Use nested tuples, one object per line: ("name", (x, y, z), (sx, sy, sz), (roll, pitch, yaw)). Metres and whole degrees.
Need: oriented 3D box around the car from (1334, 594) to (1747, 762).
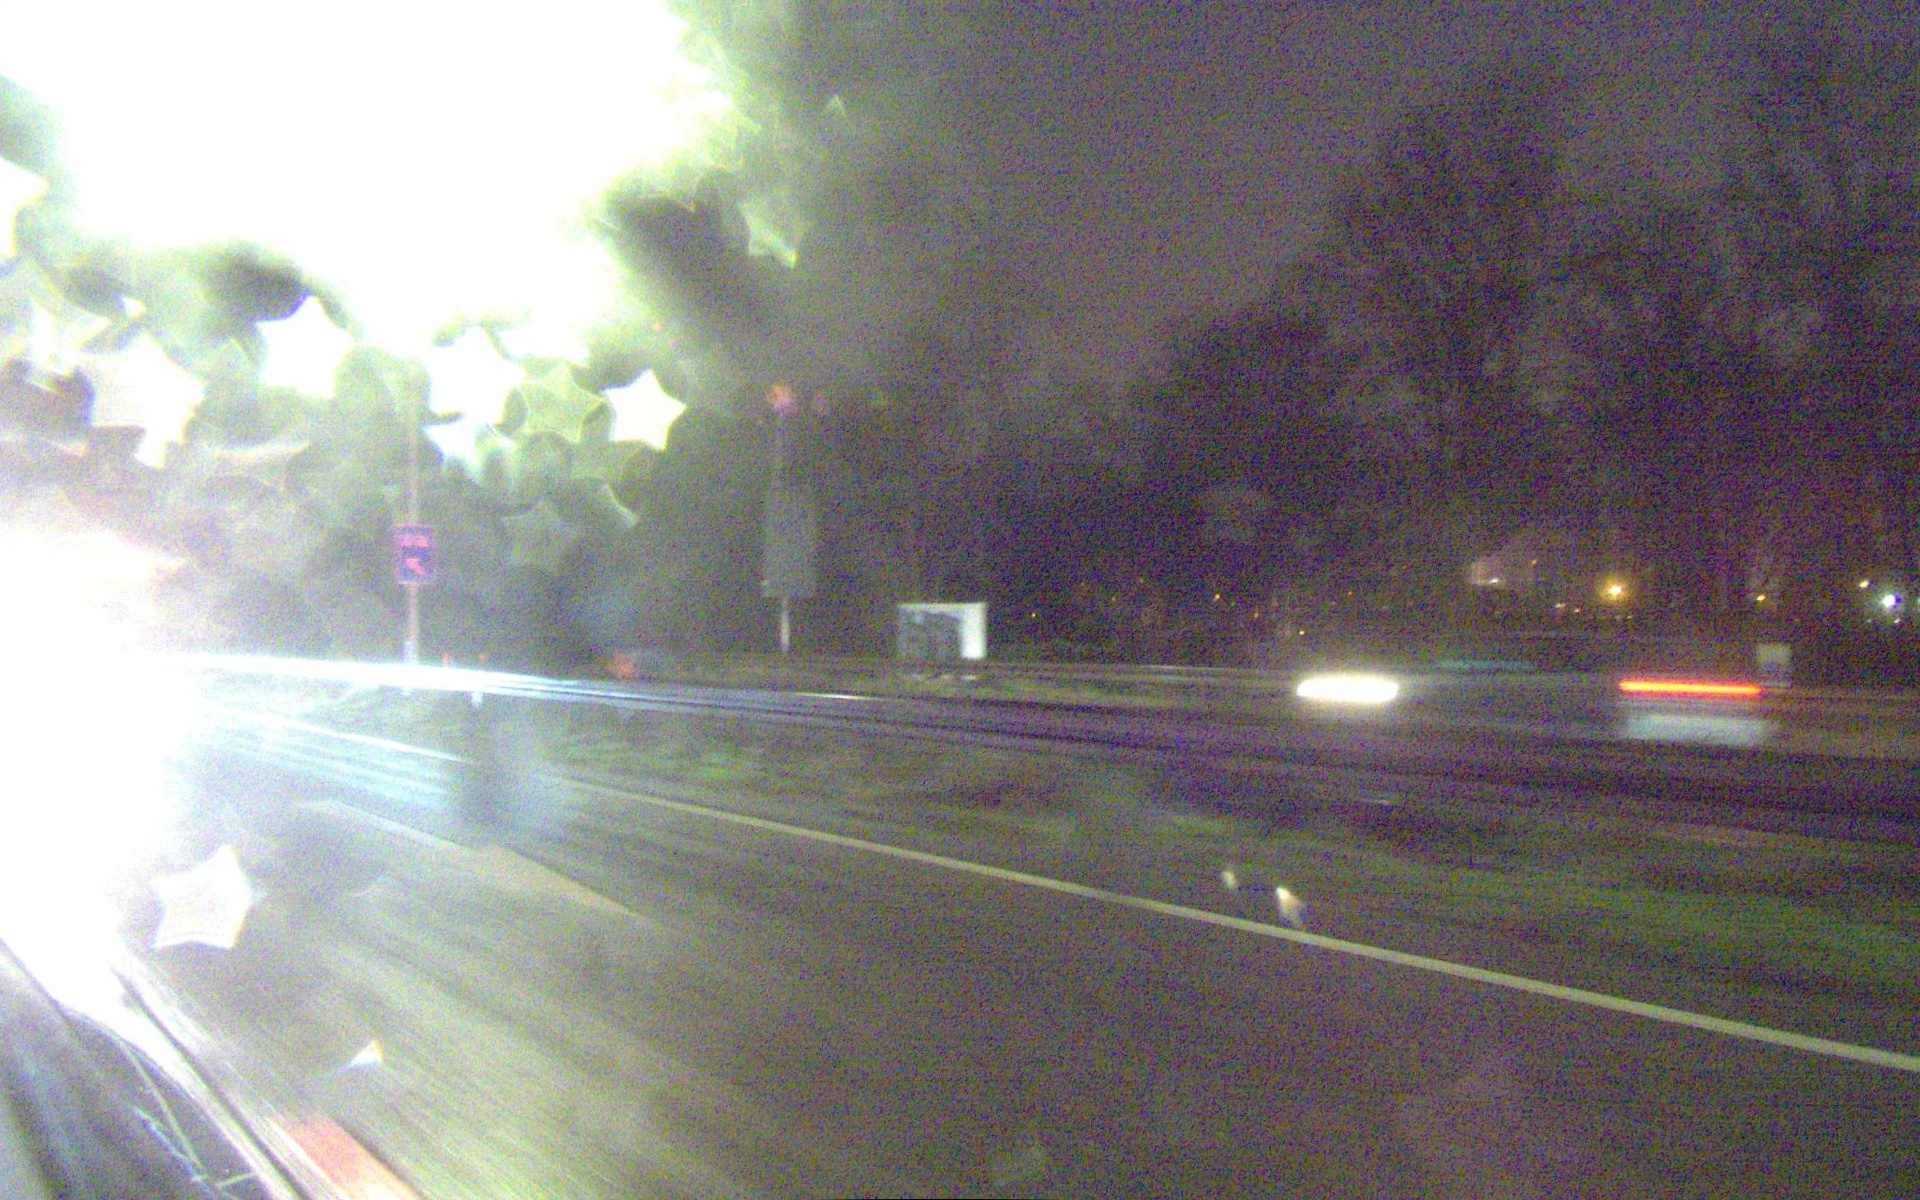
("car", (6.457, 0.736, 11.495), (3.833, 1.563, 1.583), (0, 2, 42))
